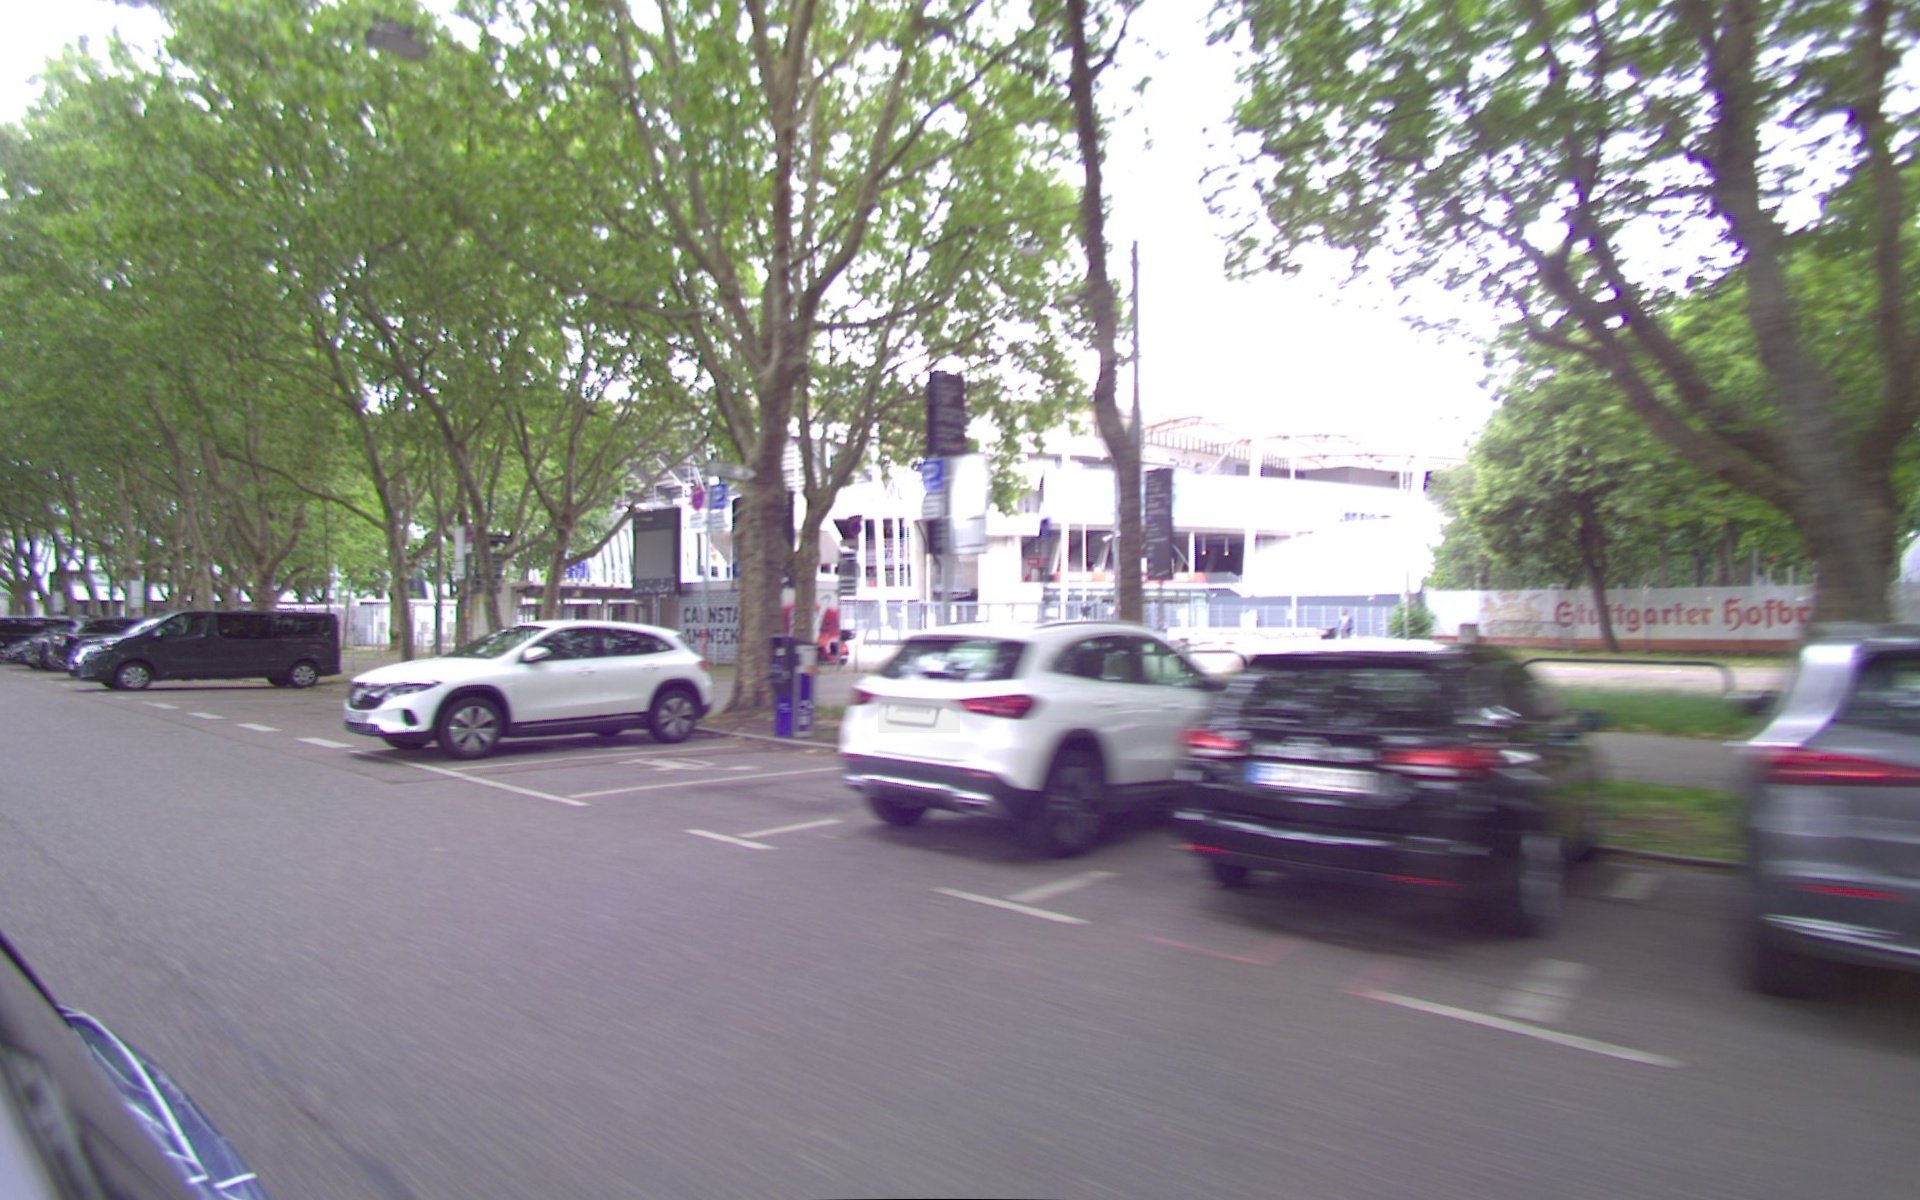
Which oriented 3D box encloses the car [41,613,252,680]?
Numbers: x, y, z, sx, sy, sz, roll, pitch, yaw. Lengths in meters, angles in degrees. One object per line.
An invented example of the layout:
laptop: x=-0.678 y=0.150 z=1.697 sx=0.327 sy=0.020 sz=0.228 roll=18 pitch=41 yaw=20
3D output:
car: x=-24.081 y=1.443 z=30.096 sx=1.805 sy=1.834 sz=4.603 roll=-3 pitch=-5 yaw=42

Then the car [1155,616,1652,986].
car: x=2.959 y=0.935 z=6.230 sx=1.841 sy=1.487 sz=3.948 roll=-1 pitch=-4 yaw=39

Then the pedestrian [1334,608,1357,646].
pedestrian: x=17.830 y=1.257 z=46.817 sx=0.764 sy=1.738 sz=0.652 roll=-1 pitch=-1 yaw=40

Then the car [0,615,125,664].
car: x=-37.778 y=1.627 z=41.743 sx=2.207 sy=1.939 sz=4.853 roll=-2 pitch=-3 yaw=41

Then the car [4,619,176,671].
car: x=-31.723 y=1.676 z=36.998 sx=1.797 sy=1.795 sz=4.529 roll=-3 pitch=-5 yaw=42

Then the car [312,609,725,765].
car: x=-5.359 y=1.007 z=12.799 sx=1.998 sy=1.609 sz=4.336 roll=-1 pitch=-3 yaw=39

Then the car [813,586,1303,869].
car: x=1.074 y=0.897 z=8.361 sx=1.998 sy=1.680 sz=4.297 roll=-1 pitch=-4 yaw=39

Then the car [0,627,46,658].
car: x=-52.456 y=2.294 z=54.659 sx=1.758 sy=1.630 sz=4.466 roll=-2 pitch=-2 yaw=43

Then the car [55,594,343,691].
car: x=-18.712 y=1.099 z=25.167 sx=1.938 sy=2.144 sz=5.381 roll=-2 pitch=-4 yaw=39

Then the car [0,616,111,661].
car: x=-41.183 y=1.735 z=45.124 sx=2.016 sy=1.939 sz=4.715 roll=-2 pitch=-4 yaw=39

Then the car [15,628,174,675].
car: x=-29.773 y=1.780 z=34.890 sx=1.752 sy=1.505 sz=3.858 roll=-1 pitch=-4 yaw=39

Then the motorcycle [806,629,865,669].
motorcycle: x=-3.726 y=1.463 z=30.373 sx=0.740 sy=1.151 sz=1.637 roll=-2 pitch=-3 yaw=44

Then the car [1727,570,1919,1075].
car: x=4.948 y=0.850 z=4.750 sx=1.998 sy=1.680 sz=4.297 roll=-1 pitch=-4 yaw=39
